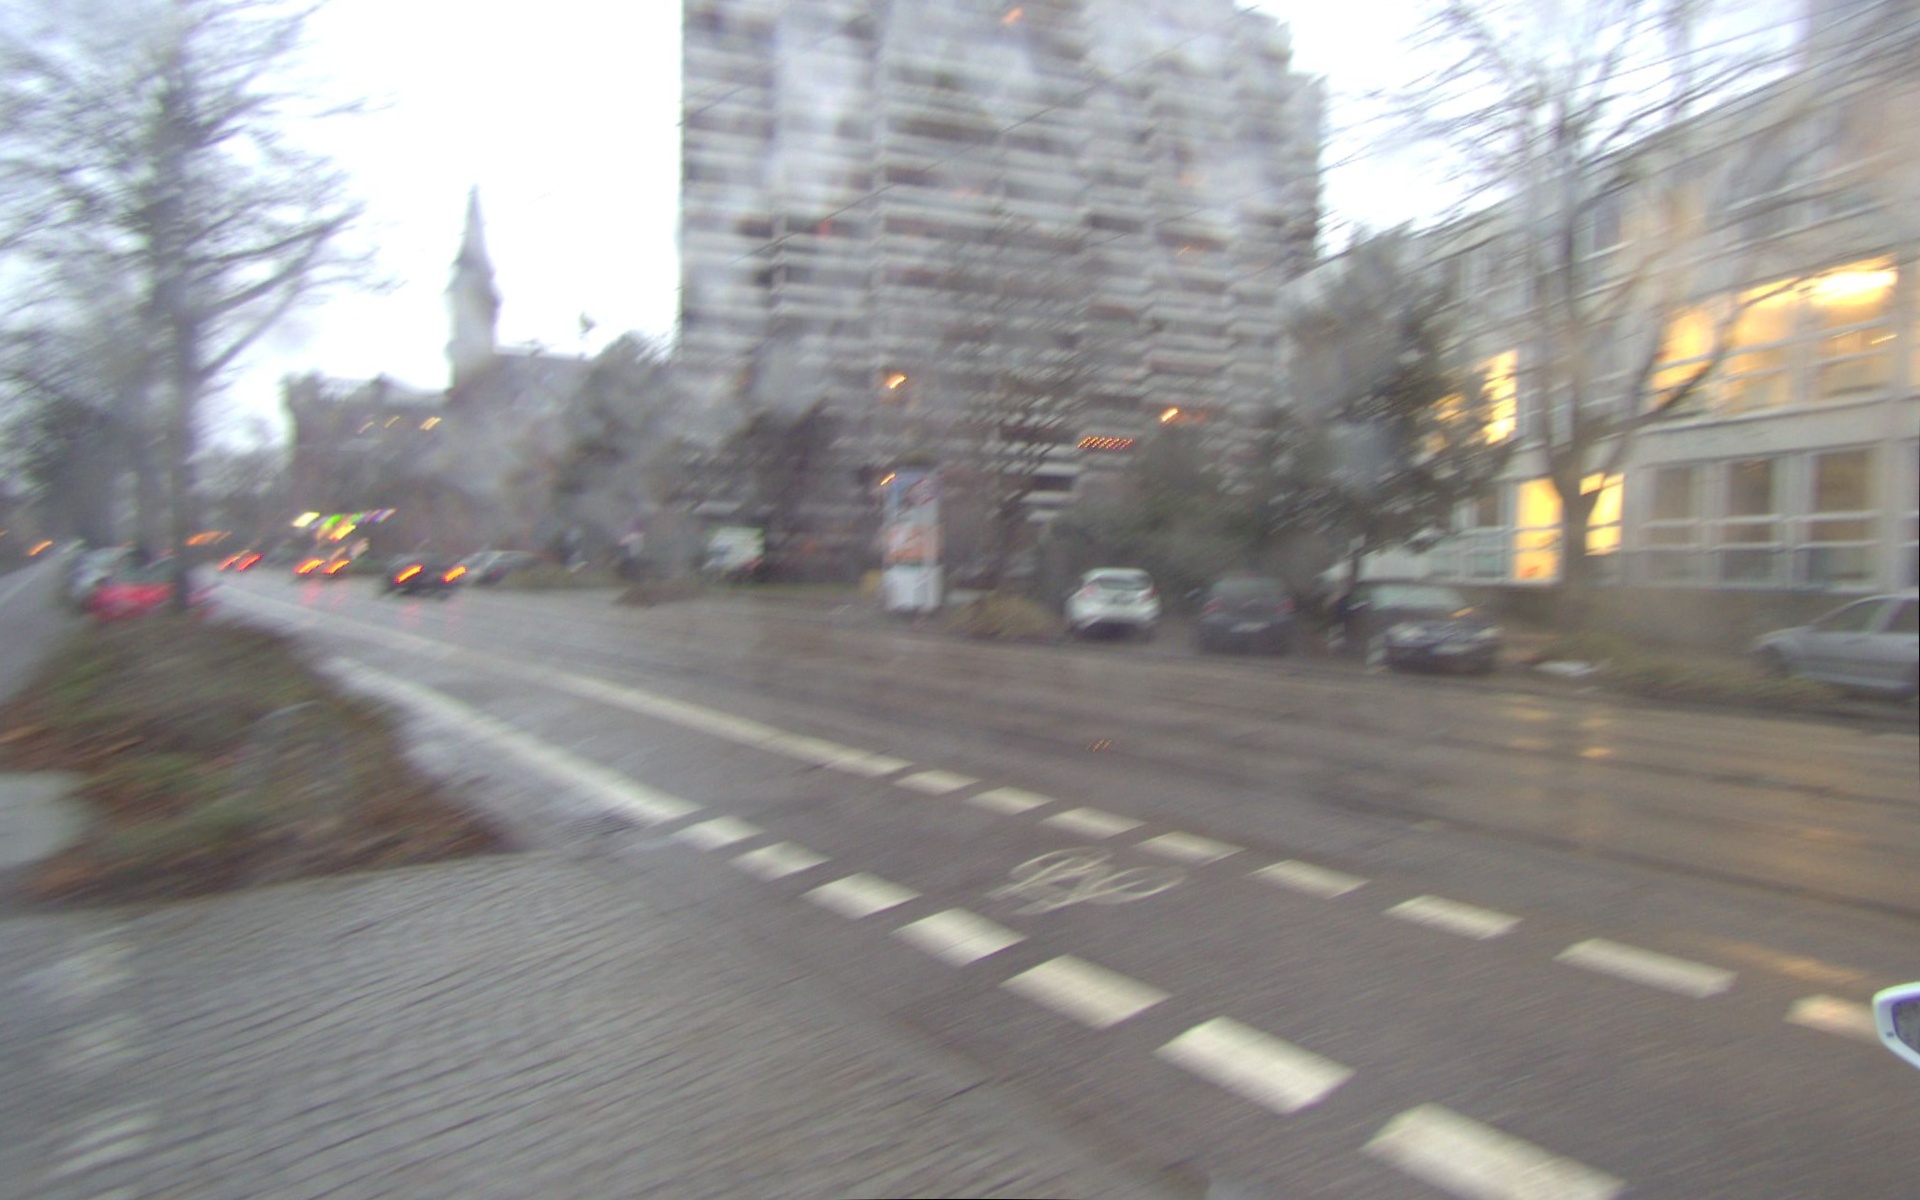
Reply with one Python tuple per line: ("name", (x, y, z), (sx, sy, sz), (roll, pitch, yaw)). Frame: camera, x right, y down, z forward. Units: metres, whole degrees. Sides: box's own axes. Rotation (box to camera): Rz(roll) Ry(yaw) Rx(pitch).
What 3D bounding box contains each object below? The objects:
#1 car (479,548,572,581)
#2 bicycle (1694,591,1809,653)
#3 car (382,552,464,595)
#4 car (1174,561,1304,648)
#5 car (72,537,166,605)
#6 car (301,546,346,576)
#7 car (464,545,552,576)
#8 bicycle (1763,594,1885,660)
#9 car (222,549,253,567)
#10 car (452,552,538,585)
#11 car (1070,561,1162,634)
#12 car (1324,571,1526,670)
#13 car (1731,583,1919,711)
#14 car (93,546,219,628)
("car", (-21.437, -1.725, 49.604), (3.962, 1.506, 1.655), (0, 2, -36))
("bicycle", (15.113, 0.417, 19.177), (2.172, 1.136, 0.639), (1, 1, -20))
("car", (-20.539, -1.026, 38.343), (1.741, 1.565, 4.239), (0, 2, -43))
("car", (5.366, 0.040, 19.795), (1.818, 1.482, 4.002), (1, 1, 6))
("car", (-21.337, -0.733, 25.529), (1.740, 1.605, 3.692), (0, 2, -40))
("car", (-36.247, -2.222, 57.164), (1.697, 1.600, 4.330), (0, 2, -38))
("car", (-23.669, -2.041, 52.656), (3.962, 1.506, 1.655), (0, 2, -36))
("bicycle", (15.528, 0.487, 18.049), (2.172, 1.136, 0.639), (1, 1, -20))
("car", (-60.929, -3.573, 84.692), (1.753, 1.430, 3.951), (0, 2, -41))
("car", (-25.415, -1.693, 54.962), (3.962, 1.662, 1.979), (0, 2, -36))
("car", (3.389, -0.088, 22.413), (1.818, 1.418, 4.002), (1, 1, 6))
("car", (7.503, 0.263, 16.661), (1.818, 1.397, 4.002), (1, 1, 6))
("car", (11.942, 0.547, 12.455), (1.757, 1.466, 4.000), (1, 1, 2))
("car", (-15.321, -0.279, 19.133), (1.740, 1.406, 3.692), (0, 2, -40))
